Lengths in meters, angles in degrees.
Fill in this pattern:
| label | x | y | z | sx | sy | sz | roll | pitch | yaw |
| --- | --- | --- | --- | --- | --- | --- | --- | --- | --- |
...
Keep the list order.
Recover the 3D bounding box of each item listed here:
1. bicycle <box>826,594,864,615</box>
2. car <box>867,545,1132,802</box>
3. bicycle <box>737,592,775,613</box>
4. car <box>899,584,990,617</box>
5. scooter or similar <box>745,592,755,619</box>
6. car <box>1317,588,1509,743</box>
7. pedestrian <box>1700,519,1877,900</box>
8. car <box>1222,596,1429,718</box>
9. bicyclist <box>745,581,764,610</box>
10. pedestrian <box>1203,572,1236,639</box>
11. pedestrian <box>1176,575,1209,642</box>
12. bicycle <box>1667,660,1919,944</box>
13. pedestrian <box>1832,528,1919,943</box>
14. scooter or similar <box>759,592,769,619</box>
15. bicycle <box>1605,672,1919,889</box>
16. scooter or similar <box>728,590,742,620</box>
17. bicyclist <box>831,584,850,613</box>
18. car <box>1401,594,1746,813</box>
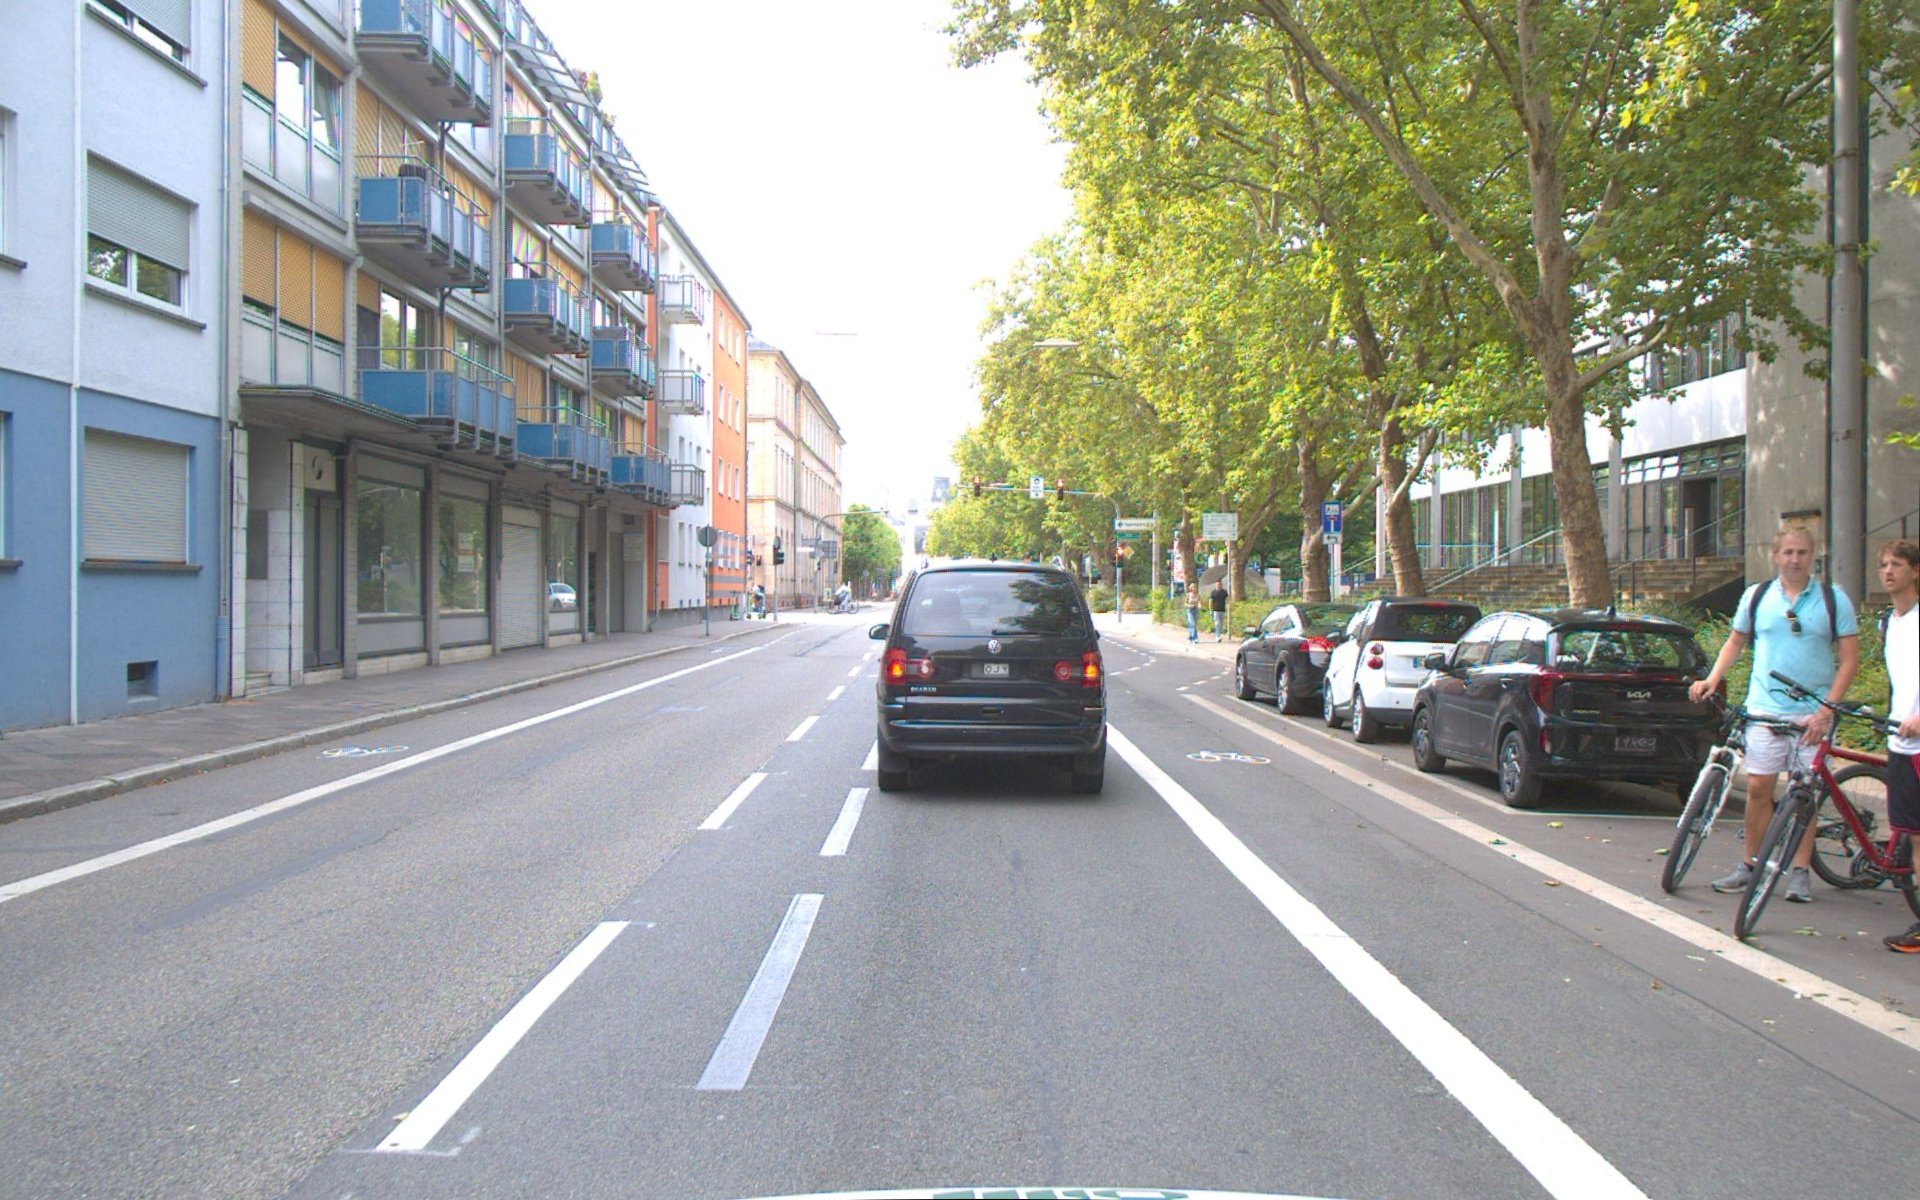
| label | x | y | z | sx | sy | sz | roll | pitch | yaw |
| --- | --- | --- | --- | --- | --- | --- | --- | --- | --- |
| bicycle | -6.008 | 0.216 | 86.040 | 1.891 | 1.046 | 0.581 | 1 | 0 | -14 |
| car | 0.253 | 0.488 | 13.832 | 1.835 | 1.775 | 4.573 | 0 | 1 | -1 |
| bicycle | -10.451 | 0.132 | 84.565 | 1.890 | 1.046 | 0.582 | 1 | 0 | -11 |
| car | -0.728 | 0.037 | 78.505 | 4.049 | 1.452 | 1.742 | -2 | 1 | -34 |
| scooter or similar | -9.147 | 0.230 | 72.085 | 0.370 | 1.167 | 1.141 | 0 | -1 | -4 |
| car | 5.029 | 0.680 | 18.630 | 1.503 | 1.570 | 2.600 | 2 | 0 | 2 |
| pedestrian | 4.468 | 0.564 | 8.952 | 0.466 | 1.968 | 0.743 | 1 | 0 | -11 |
| car | 4.917 | 0.707 | 22.880 | 1.664 | 1.450 | 4.420 | 2 | 0 | -3 |
| bicyclist | -10.492 | -0.235 | 84.558 | 0.898 | 1.491 | 0.568 | 1 | 0 | -10 |
| pedestrian | 7.202 | 0.155 | 45.928 | 0.700 | 1.831 | 1.033 | -2 | 0 | -2 |
| pedestrian | 6.446 | 0.241 | 45.836 | 0.696 | 1.814 | 1.033 | -2 | 0 | -2 |
| bicycle | 4.311 | 0.929 | 7.916 | 1.761 | 1.238 | 0.551 | 1 | 0 | -18 |
| pedestrian | 4.563 | 0.613 | 7.679 | 0.511 | 1.877 | 0.742 | 1 | 0 | -15 |
| scooter or similar | -8.591 | 0.242 | 72.562 | 0.370 | 1.164 | 1.141 | 0 | -1 | -4 |
| bicycle | 4.534 | 0.989 | 9.225 | 1.704 | 1.125 | 0.551 | 1 | 0 | -12 |
| scooter or similar | -8.951 | 0.210 | 65.870 | 0.370 | 1.204 | 1.389 | 0 | -1 | 0 |
| bicyclist | -6.221 | -0.099 | 85.992 | 0.898 | 1.491 | 0.568 | 1 | 0 | -13 |
| car | 4.940 | 0.744 | 13.831 | 1.497 | 1.528 | 3.660 | 2 | 0 | 0 |
